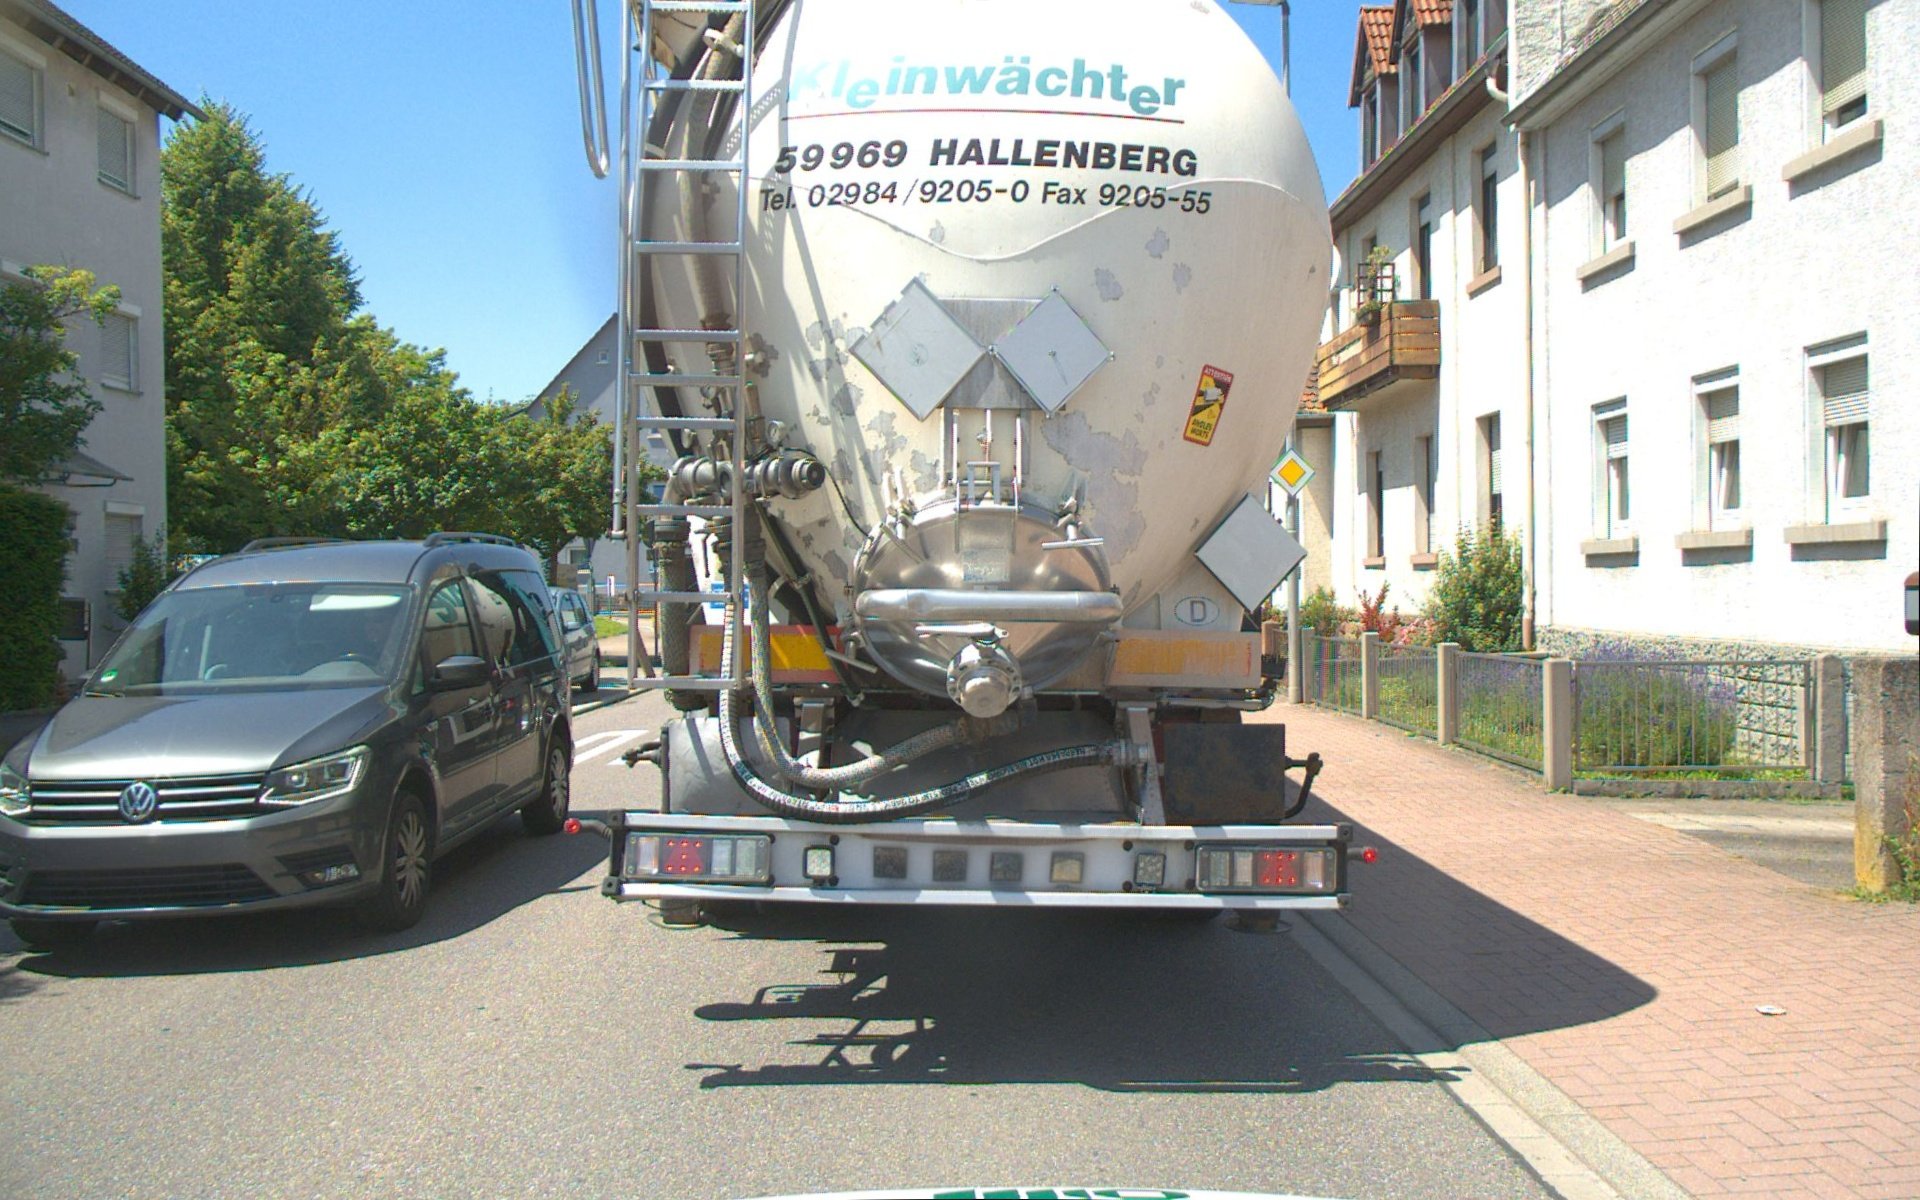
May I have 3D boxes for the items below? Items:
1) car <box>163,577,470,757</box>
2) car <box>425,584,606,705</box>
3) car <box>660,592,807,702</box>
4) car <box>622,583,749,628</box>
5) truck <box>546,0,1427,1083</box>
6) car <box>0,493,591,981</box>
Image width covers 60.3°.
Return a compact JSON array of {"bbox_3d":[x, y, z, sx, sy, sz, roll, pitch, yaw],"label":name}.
[{"bbox_3d":[-6.513,0.606,17.220,1.657,1.648,3.997,0,0,0],"label":"car"},{"bbox_3d":[-6.336,0.586,23.969,1.663,1.608,3.837,0,0,-1],"label":"car"},{"bbox_3d":[-3.412,0.654,25.621,1.684,1.472,4.254,-3,1,-1],"label":"car"},{"bbox_3d":[-10.618,0.195,64.121,4.526,1.680,1.742,0,0,7],"label":"car"},{"bbox_3d":[0.035,-0.649,9.659,2.587,4.086,9.560,0,0,-1],"label":"truck"},{"bbox_3d":[-3.274,0.531,8.806,1.622,1.887,4.463,-2,0,-1],"label":"car"}]
